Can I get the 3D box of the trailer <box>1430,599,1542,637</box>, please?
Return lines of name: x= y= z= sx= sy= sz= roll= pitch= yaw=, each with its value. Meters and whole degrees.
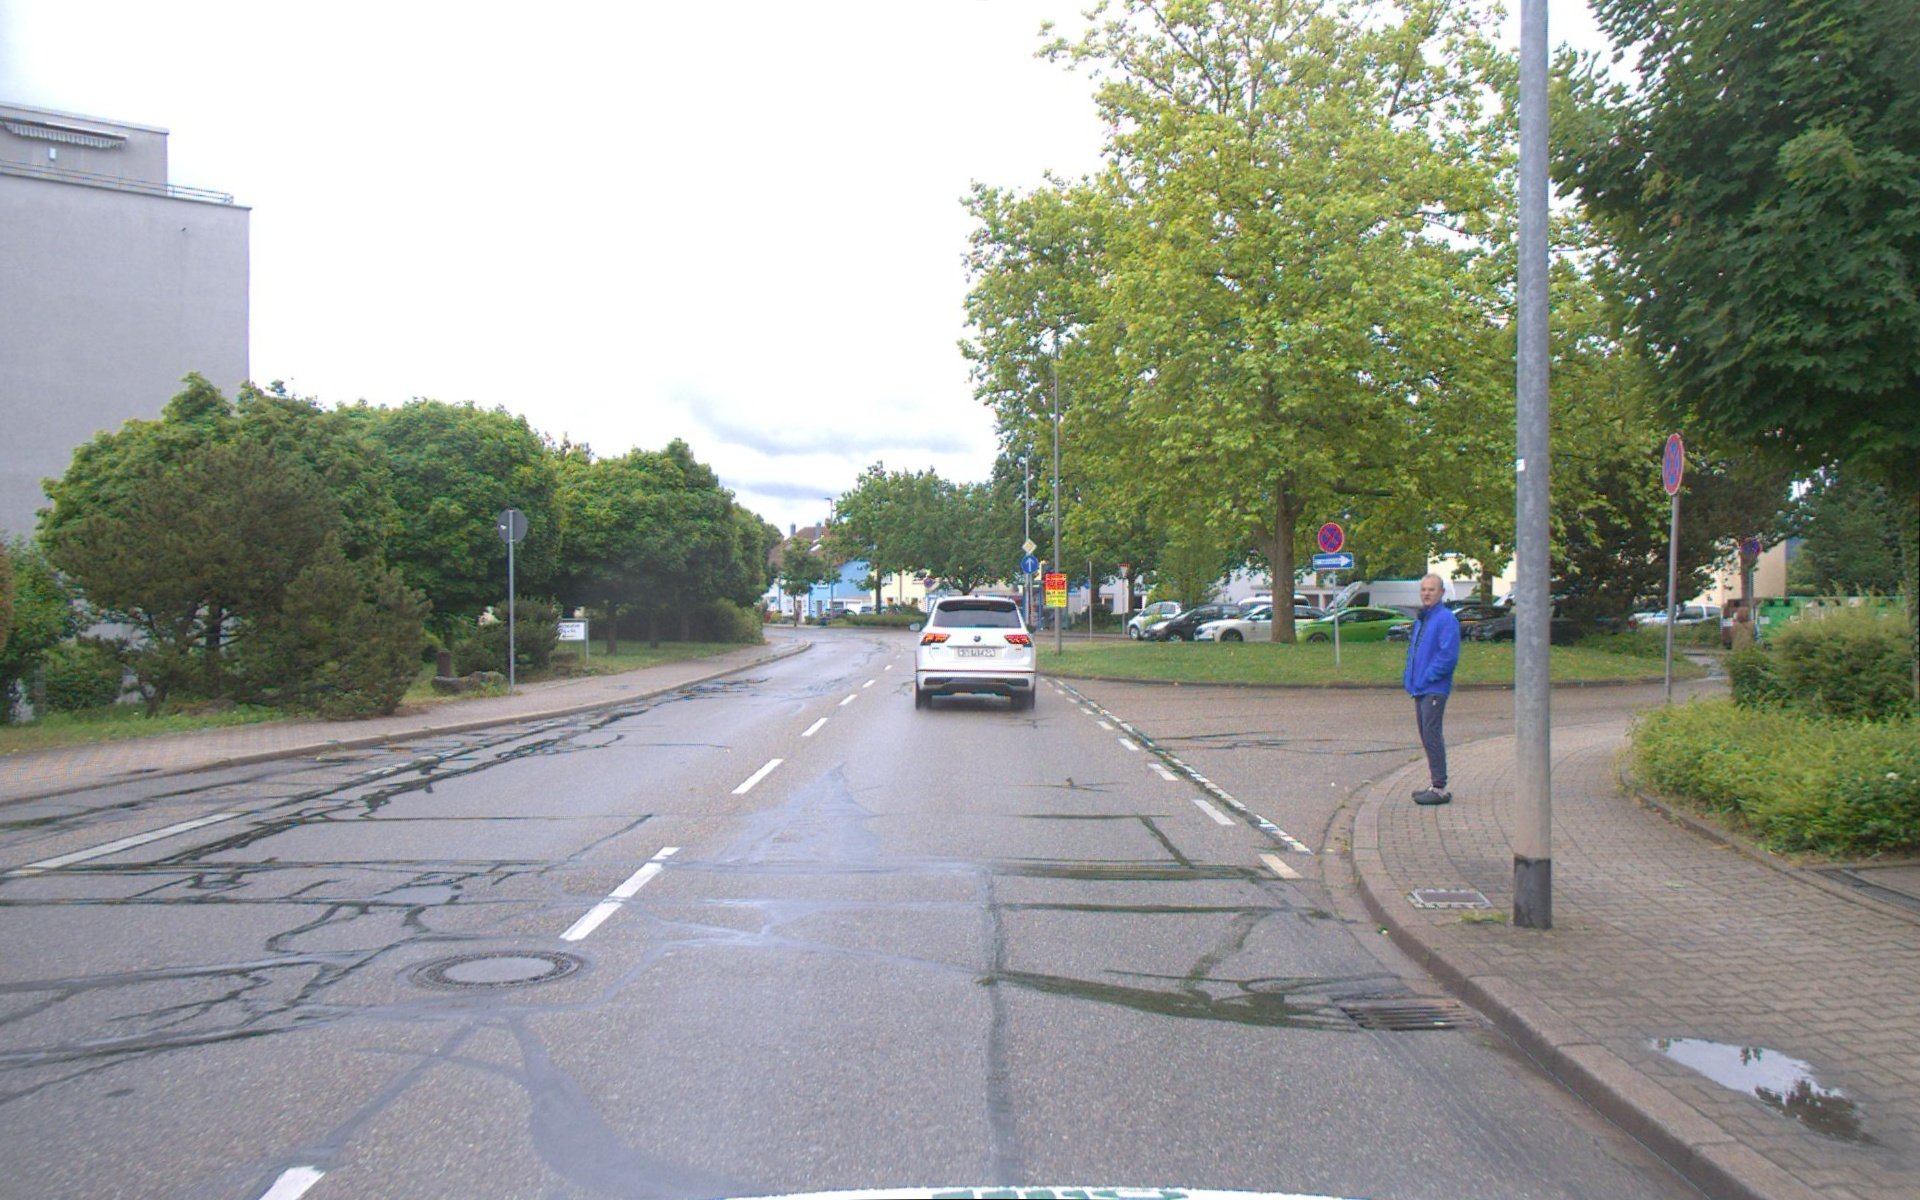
trailer: x=20.751 y=0.715 z=65.322 sx=3.905 sy=1.462 sz=1.712 roll=0 pitch=0 yaw=0

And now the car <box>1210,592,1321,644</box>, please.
car: x=11.684 y=0.666 z=63.540 sx=1.973 sy=1.914 sz=4.169 roll=0 pitch=0 yaw=-31

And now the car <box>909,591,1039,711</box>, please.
car: x=0.207 y=0.726 z=25.608 sx=1.827 sy=1.679 sz=4.000 roll=-1 pitch=0 yaw=0

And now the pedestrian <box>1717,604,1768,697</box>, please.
pedestrian: x=13.841 y=0.886 z=29.254 sx=0.722 sy=1.611 sz=0.948 roll=0 pitch=-1 yaw=32

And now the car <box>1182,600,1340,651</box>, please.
car: x=9.308 y=0.773 z=51.293 sx=4.484 sy=1.468 sz=1.762 roll=-1 pitch=0 yaw=-6

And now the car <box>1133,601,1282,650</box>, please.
car: x=8.033 y=0.804 z=53.816 sx=4.484 sy=1.468 sz=1.762 roll=-1 pitch=0 yaw=-6

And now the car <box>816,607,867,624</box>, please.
car: x=-9.510 y=1.240 z=132.962 sx=3.961 sy=1.412 sz=1.651 roll=0 pitch=0 yaw=-39

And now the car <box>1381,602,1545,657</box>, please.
car: x=13.759 y=0.804 z=45.330 sx=3.932 sy=1.395 sz=1.762 roll=-1 pitch=0 yaw=-6

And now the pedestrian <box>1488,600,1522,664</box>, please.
pedestrian: x=14.546 y=0.850 z=44.159 sx=0.722 sy=1.681 sz=0.587 roll=0 pitch=0 yaw=3

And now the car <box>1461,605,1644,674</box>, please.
car: x=15.212 y=1.009 z=42.672 sx=4.188 sy=1.655 sz=1.766 roll=-1 pitch=0 yaw=10

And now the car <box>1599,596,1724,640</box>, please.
car: x=25.831 y=0.652 z=60.897 sx=3.924 sy=1.557 sz=1.990 roll=0 pitch=0 yaw=-18

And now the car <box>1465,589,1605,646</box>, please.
car: x=21.958 y=0.670 z=63.246 sx=4.660 sy=2.049 sz=1.997 roll=-1 pitch=0 yaw=-7

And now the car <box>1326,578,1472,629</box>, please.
car: x=18.616 y=0.144 z=70.233 sx=5.716 sy=2.049 sz=1.995 roll=-1 pitch=0 yaw=-11

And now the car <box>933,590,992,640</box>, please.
car: x=0.042 y=0.482 z=54.814 sx=1.734 sy=1.578 sz=3.997 roll=0 pitch=0 yaw=-3

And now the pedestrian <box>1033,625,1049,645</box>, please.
pedestrian: x=4.189 y=1.822 z=85.548 sx=0.735 sy=1.029 sz=0.550 roll=0 pitch=0 yaw=-9

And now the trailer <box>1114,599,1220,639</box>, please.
trailer: x=8.551 y=0.775 z=68.557 sx=1.976 sy=1.570 sz=4.373 roll=-1 pitch=0 yaw=-34

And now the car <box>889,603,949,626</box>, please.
car: x=-3.072 y=1.074 z=124.123 sx=4.143 sy=1.701 sz=1.968 roll=0 pitch=0 yaw=-35

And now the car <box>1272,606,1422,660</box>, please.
car: x=11.337 y=0.956 z=48.591 sx=3.932 sy=1.468 sz=1.762 roll=-1 pitch=0 yaw=-6

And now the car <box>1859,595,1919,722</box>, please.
car: x=12.836 y=0.677 z=19.325 sx=1.728 sy=1.506 sz=3.719 roll=-1 pitch=0 yaw=-37

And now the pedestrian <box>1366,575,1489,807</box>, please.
pedestrian: x=3.538 y=0.665 z=12.548 sx=0.580 sy=1.695 sz=0.772 roll=0 pitch=-1 yaw=-17
